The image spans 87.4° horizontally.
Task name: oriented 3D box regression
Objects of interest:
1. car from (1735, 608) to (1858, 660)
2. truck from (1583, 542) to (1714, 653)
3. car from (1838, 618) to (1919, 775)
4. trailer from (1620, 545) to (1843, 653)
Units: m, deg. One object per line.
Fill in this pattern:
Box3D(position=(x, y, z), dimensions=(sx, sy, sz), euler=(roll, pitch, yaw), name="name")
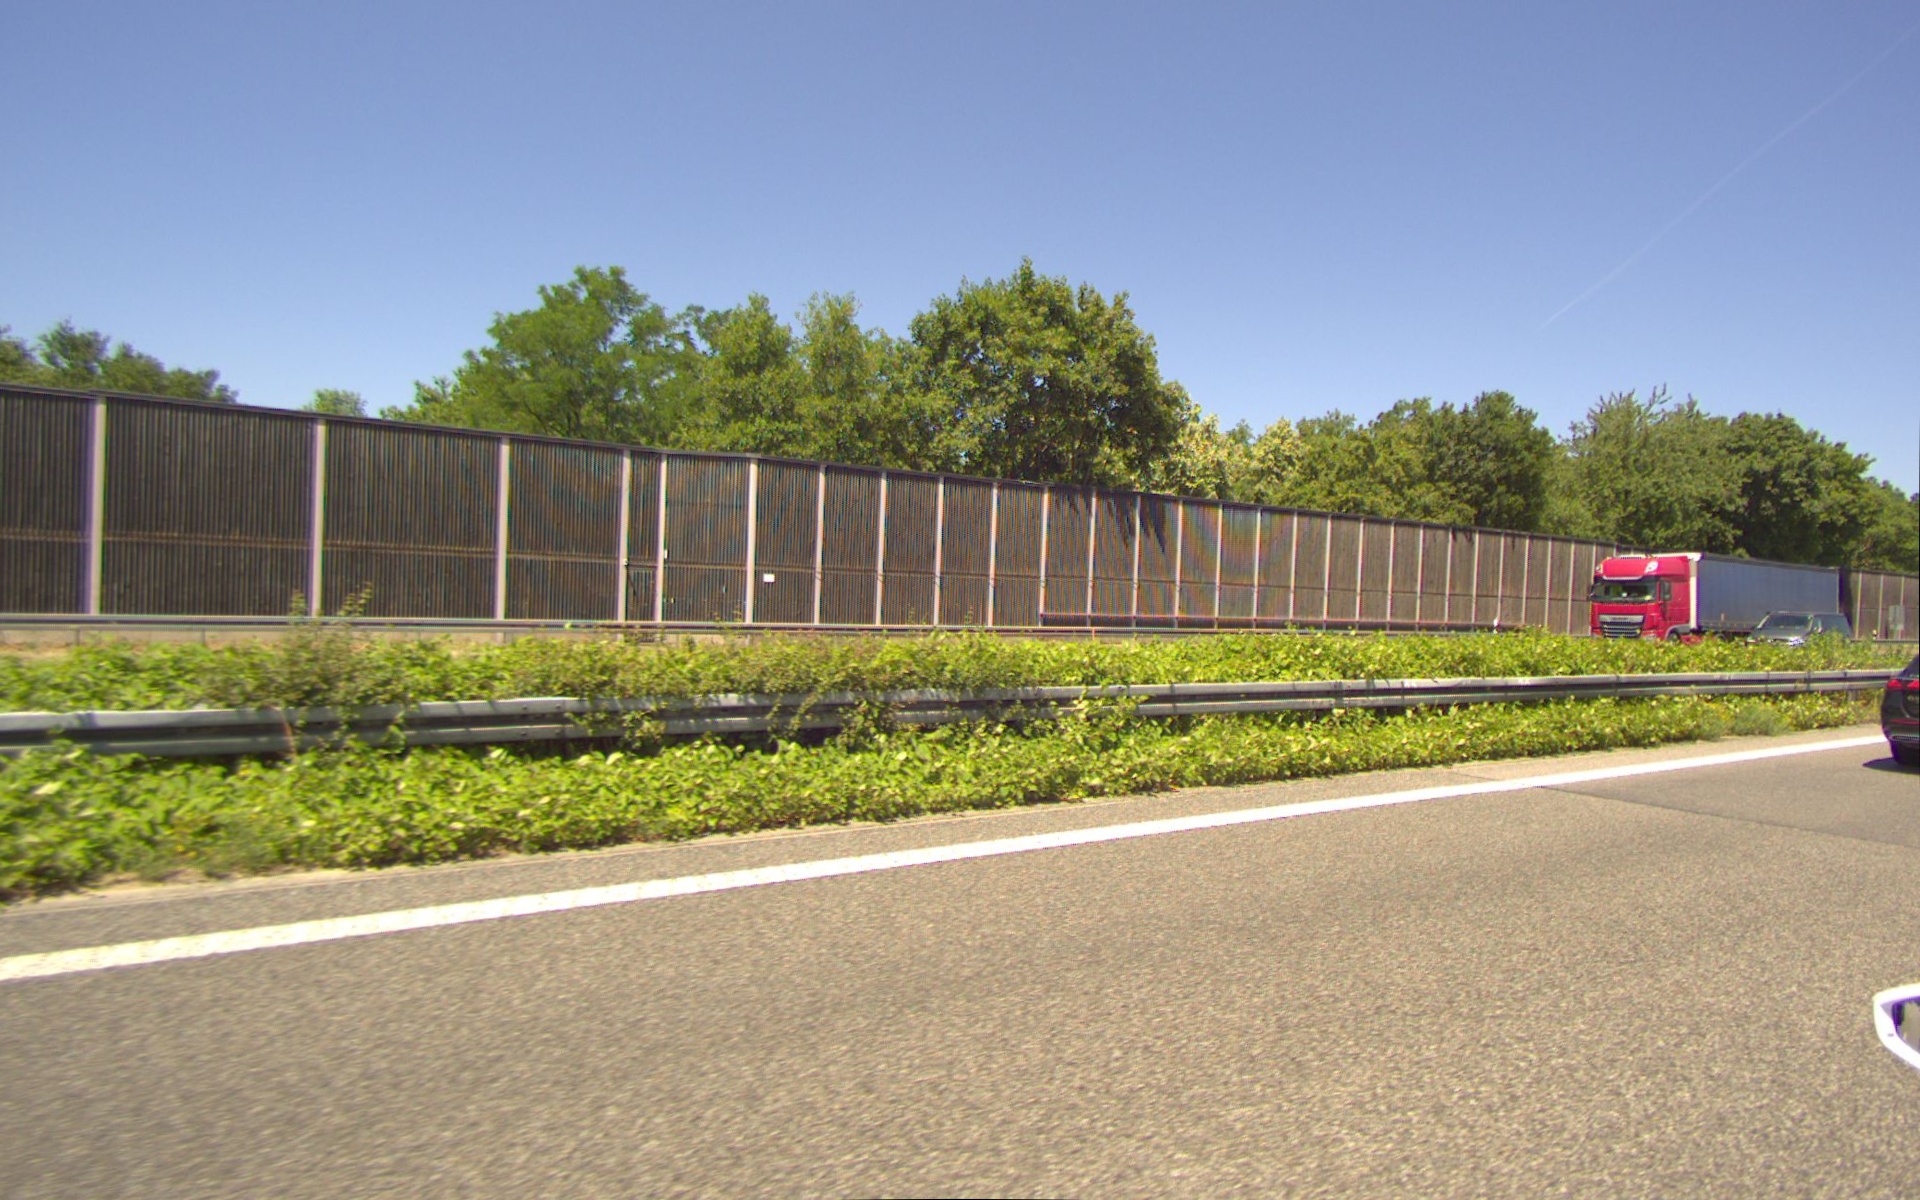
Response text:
Box3D(position=(32.048, 1.295, 38.449), dimensions=(5.160, 1.840, 1.983), euler=(2, 0, -31), name="car")
Box3D(position=(27.246, -0.051, 39.721), dimensions=(4.622, 4.142, 2.475), euler=(2, 0, -30), name="truck")
Box3D(position=(12.086, 1.022, 11.030), dimensions=(5.752, 1.526, 1.934), euler=(1, 0, -30), name="car")
Box3D(position=(33.665, 0.142, 43.461), dimensions=(14.103, 4.142, 2.484), euler=(2, 0, -30), name="trailer")
